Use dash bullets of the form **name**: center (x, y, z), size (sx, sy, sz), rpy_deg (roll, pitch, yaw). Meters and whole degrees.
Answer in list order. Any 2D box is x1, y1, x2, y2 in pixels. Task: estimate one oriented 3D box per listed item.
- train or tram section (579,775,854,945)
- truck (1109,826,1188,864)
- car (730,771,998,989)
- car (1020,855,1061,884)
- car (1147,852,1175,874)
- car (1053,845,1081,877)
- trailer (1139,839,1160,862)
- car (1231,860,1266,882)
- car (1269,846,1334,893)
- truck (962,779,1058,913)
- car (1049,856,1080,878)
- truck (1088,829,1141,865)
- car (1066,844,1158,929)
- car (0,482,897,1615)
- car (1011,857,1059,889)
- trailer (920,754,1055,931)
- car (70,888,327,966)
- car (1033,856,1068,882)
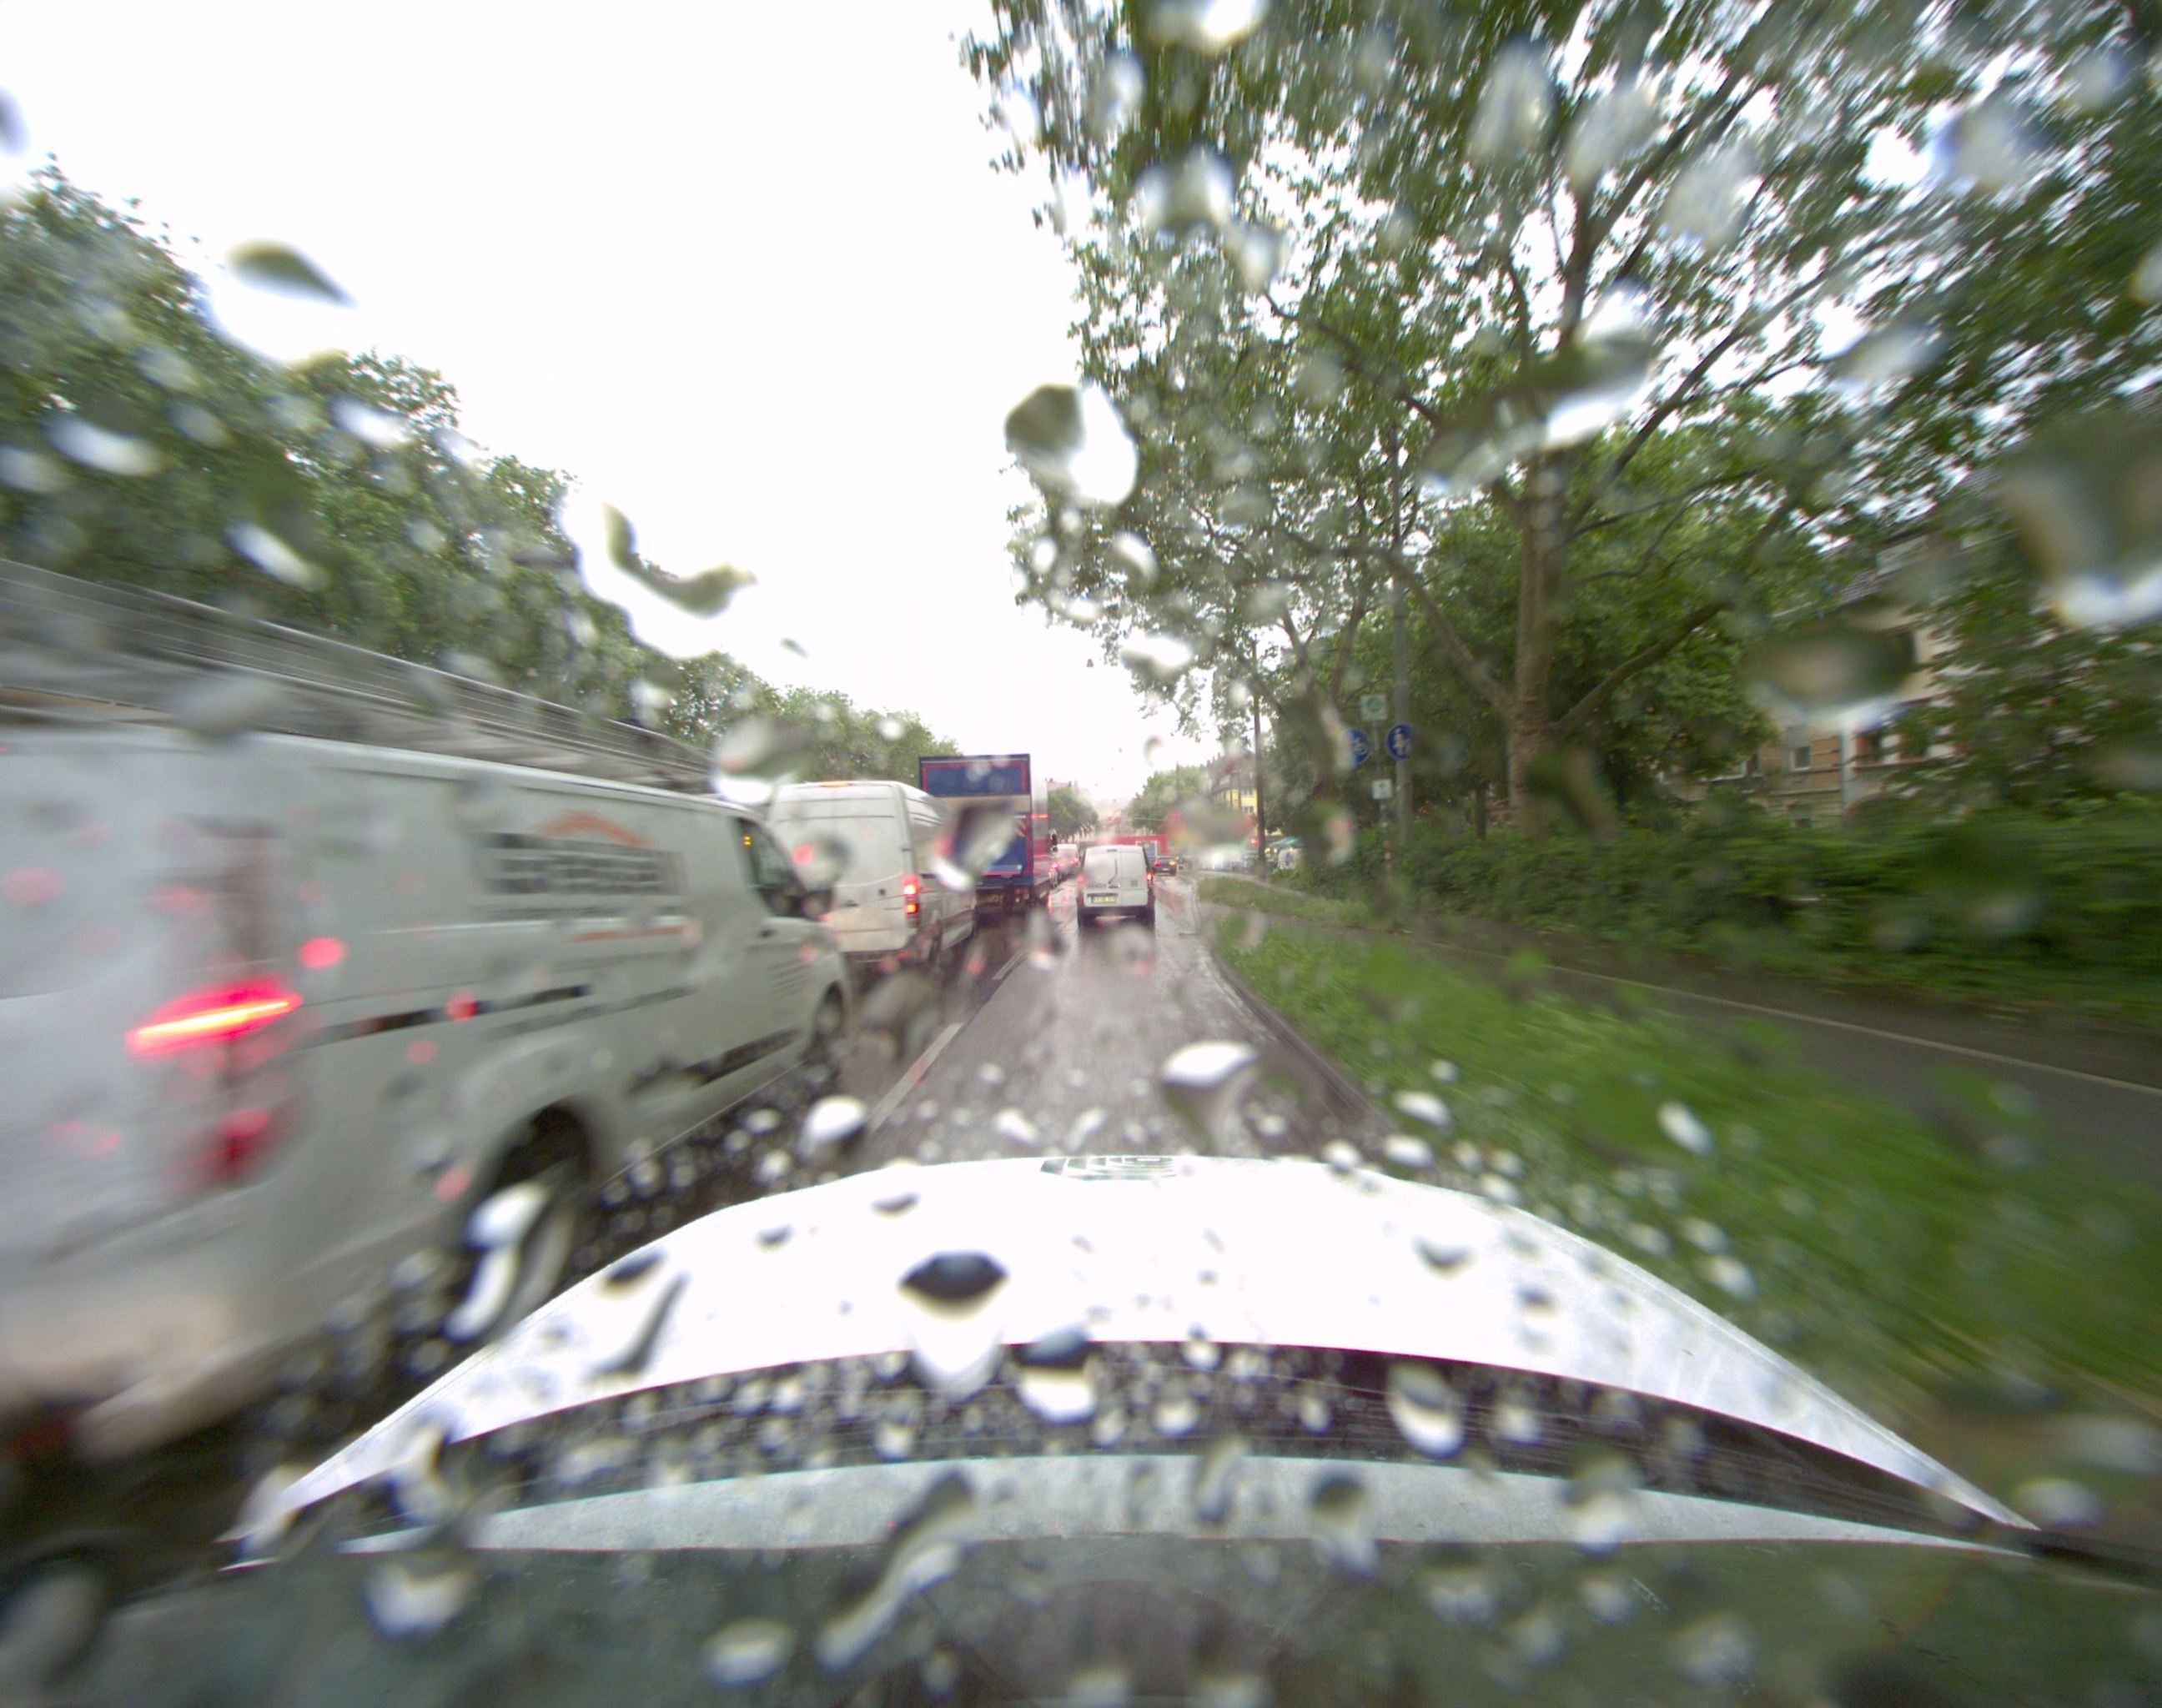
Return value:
- **train or tram section**: center (-8.586, 0.084, 20.768), size (2.951, 3.285, 8.362), rpy_deg (-3, 0, 1)
- **truck**: center (9.656, -1.266, 117.949), size (11.253, 4.899, 3.310), rpy_deg (-3, 0, 40)
- **car**: center (-2.918, 0.369, 12.789), size (2.321, 2.557, 6.116), rpy_deg (-1, -1, 2)
- **car**: center (-2.288, 0.881, 46.662), size (1.986, 1.578, 4.293), rpy_deg (0, -1, 1)
- **car**: center (6.008, 0.654, 61.084), size (1.984, 1.542, 4.006), rpy_deg (-2, 0, 6)
- **car**: center (-1.056, 0.534, 64.666), size (1.986, 2.442, 4.613), rpy_deg (0, -1, 2)
- **trailer**: center (7.406, -0.317, 87.270), size (1.983, 2.317, 4.677), rpy_deg (-2, -1, 7)
- **car**: center (13.115, 1.270, 63.829), size (1.816, 1.490, 4.353), rpy_deg (-3, 0, 1)
- **car**: center (13.248, 0.871, 49.380), size (2.173, 2.532, 5.775), rpy_deg (-3, 0, -1)
- **truck**: center (-2.169, -0.246, 26.101), size (2.572, 3.904, 4.000), rpy_deg (-1, 0, 1)
- **car**: center (-1.160, 0.931, 59.140), size (1.986, 1.578, 4.293), rpy_deg (0, -1, 1)
- **truck**: center (5.039, -1.017, 121.882), size (7.088, 4.899, 3.310), rpy_deg (-3, 0, 40)
- **car**: center (0.719, 0.740, 19.369), size (1.952, 1.777, 3.570), rpy_deg (-1, -1, 2)
- **car**: center (-2.673, 0.447, 4.299), size (1.986, 2.262, 5.290), rpy_deg (-1, -1, 2)
- **car**: center (-2.233, 0.905, 40.611), size (1.986, 1.472, 4.268), rpy_deg (0, 1, 1)
- **trailer**: center (-2.213, -0.255, 22.009), size (2.581, 3.900, 7.636), rpy_deg (-1, 0, 1)
- **car**: center (-21.746, 1.735, 20.360), size (1.926, 1.517, 4.002), rpy_deg (-3, 0, 2)
- **car**: center (-1.919, 0.934, 52.439), size (1.986, 1.578, 4.293), rpy_deg (0, -1, 1)
